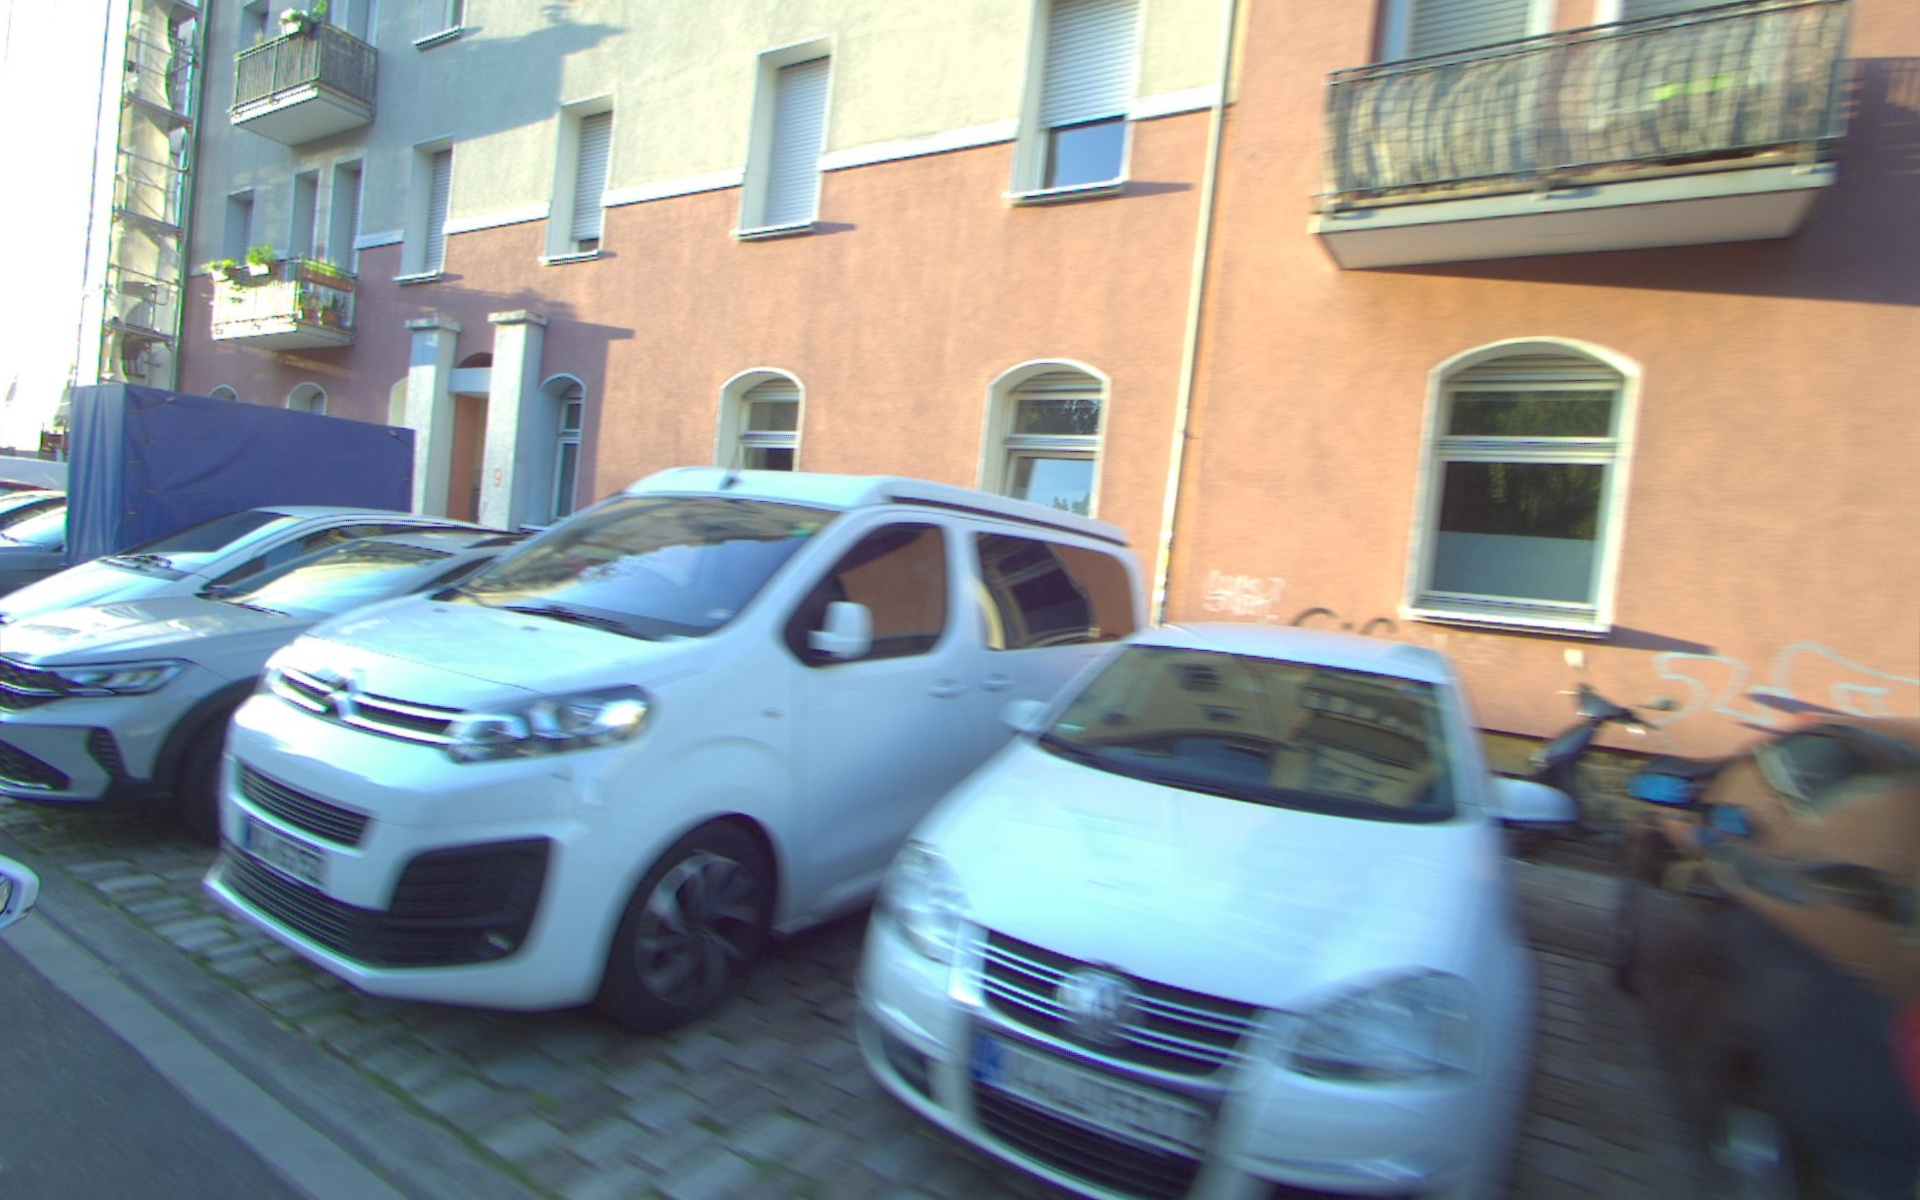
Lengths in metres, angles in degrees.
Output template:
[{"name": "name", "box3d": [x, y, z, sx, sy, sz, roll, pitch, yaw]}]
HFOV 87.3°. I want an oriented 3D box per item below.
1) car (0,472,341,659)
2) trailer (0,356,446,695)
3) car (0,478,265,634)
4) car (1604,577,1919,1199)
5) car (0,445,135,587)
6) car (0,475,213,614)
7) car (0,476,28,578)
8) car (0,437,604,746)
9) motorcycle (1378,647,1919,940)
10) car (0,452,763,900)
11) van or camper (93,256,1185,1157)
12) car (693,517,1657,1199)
[{"name": "car", "box3d": [-8.980, -0.354, 10.310, 1.871, 1.658, 3.993, 7, 0, 29]}, {"name": "trailer", "box3d": [-6.831, -0.571, 8.829, 1.908, 2.368, 3.569, 7, 3, 29]}, {"name": "car", "box3d": [-10.774, -0.562, 11.699, 1.758, 1.591, 3.970, 7, 0, 29]}, {"name": "car", "box3d": [3.185, 0.956, 2.831, 1.966, 1.549, 3.992, 7, 0, 30]}, {"name": "car", "box3d": [-14.818, -1.323, 14.378, 1.789, 2.007, 4.271, 8, 3, 24]}, {"name": "car", "box3d": [-12.601, -0.811, 13.482, 1.715, 1.630, 3.697, 7, 0, 30]}, {"name": "car", "box3d": [-17.341, -1.400, 15.374, 1.841, 1.635, 4.156, 7, 0, 33]}, {"name": "car", "box3d": [-5.137, 0.001, 7.898, 1.967, 1.749, 3.992, 6, -1, 30]}, {"name": "motorcycle", "box3d": [4.178, 1.093, 6.396, 2.609, 1.251, 0.742, 7, 1, 33]}, {"name": "car", "box3d": [-3.317, 0.323, 5.952, 1.966, 1.660, 3.992, 6, 0, 30]}, {"name": "van or camper", "box3d": [-0.755, 0.312, 4.951, 2.006, 2.122, 4.839, 7, 0, 31]}, {"name": "car", "box3d": [1.204, 0.818, 3.898, 1.966, 1.638, 3.992, 7, 0, 30]}]
